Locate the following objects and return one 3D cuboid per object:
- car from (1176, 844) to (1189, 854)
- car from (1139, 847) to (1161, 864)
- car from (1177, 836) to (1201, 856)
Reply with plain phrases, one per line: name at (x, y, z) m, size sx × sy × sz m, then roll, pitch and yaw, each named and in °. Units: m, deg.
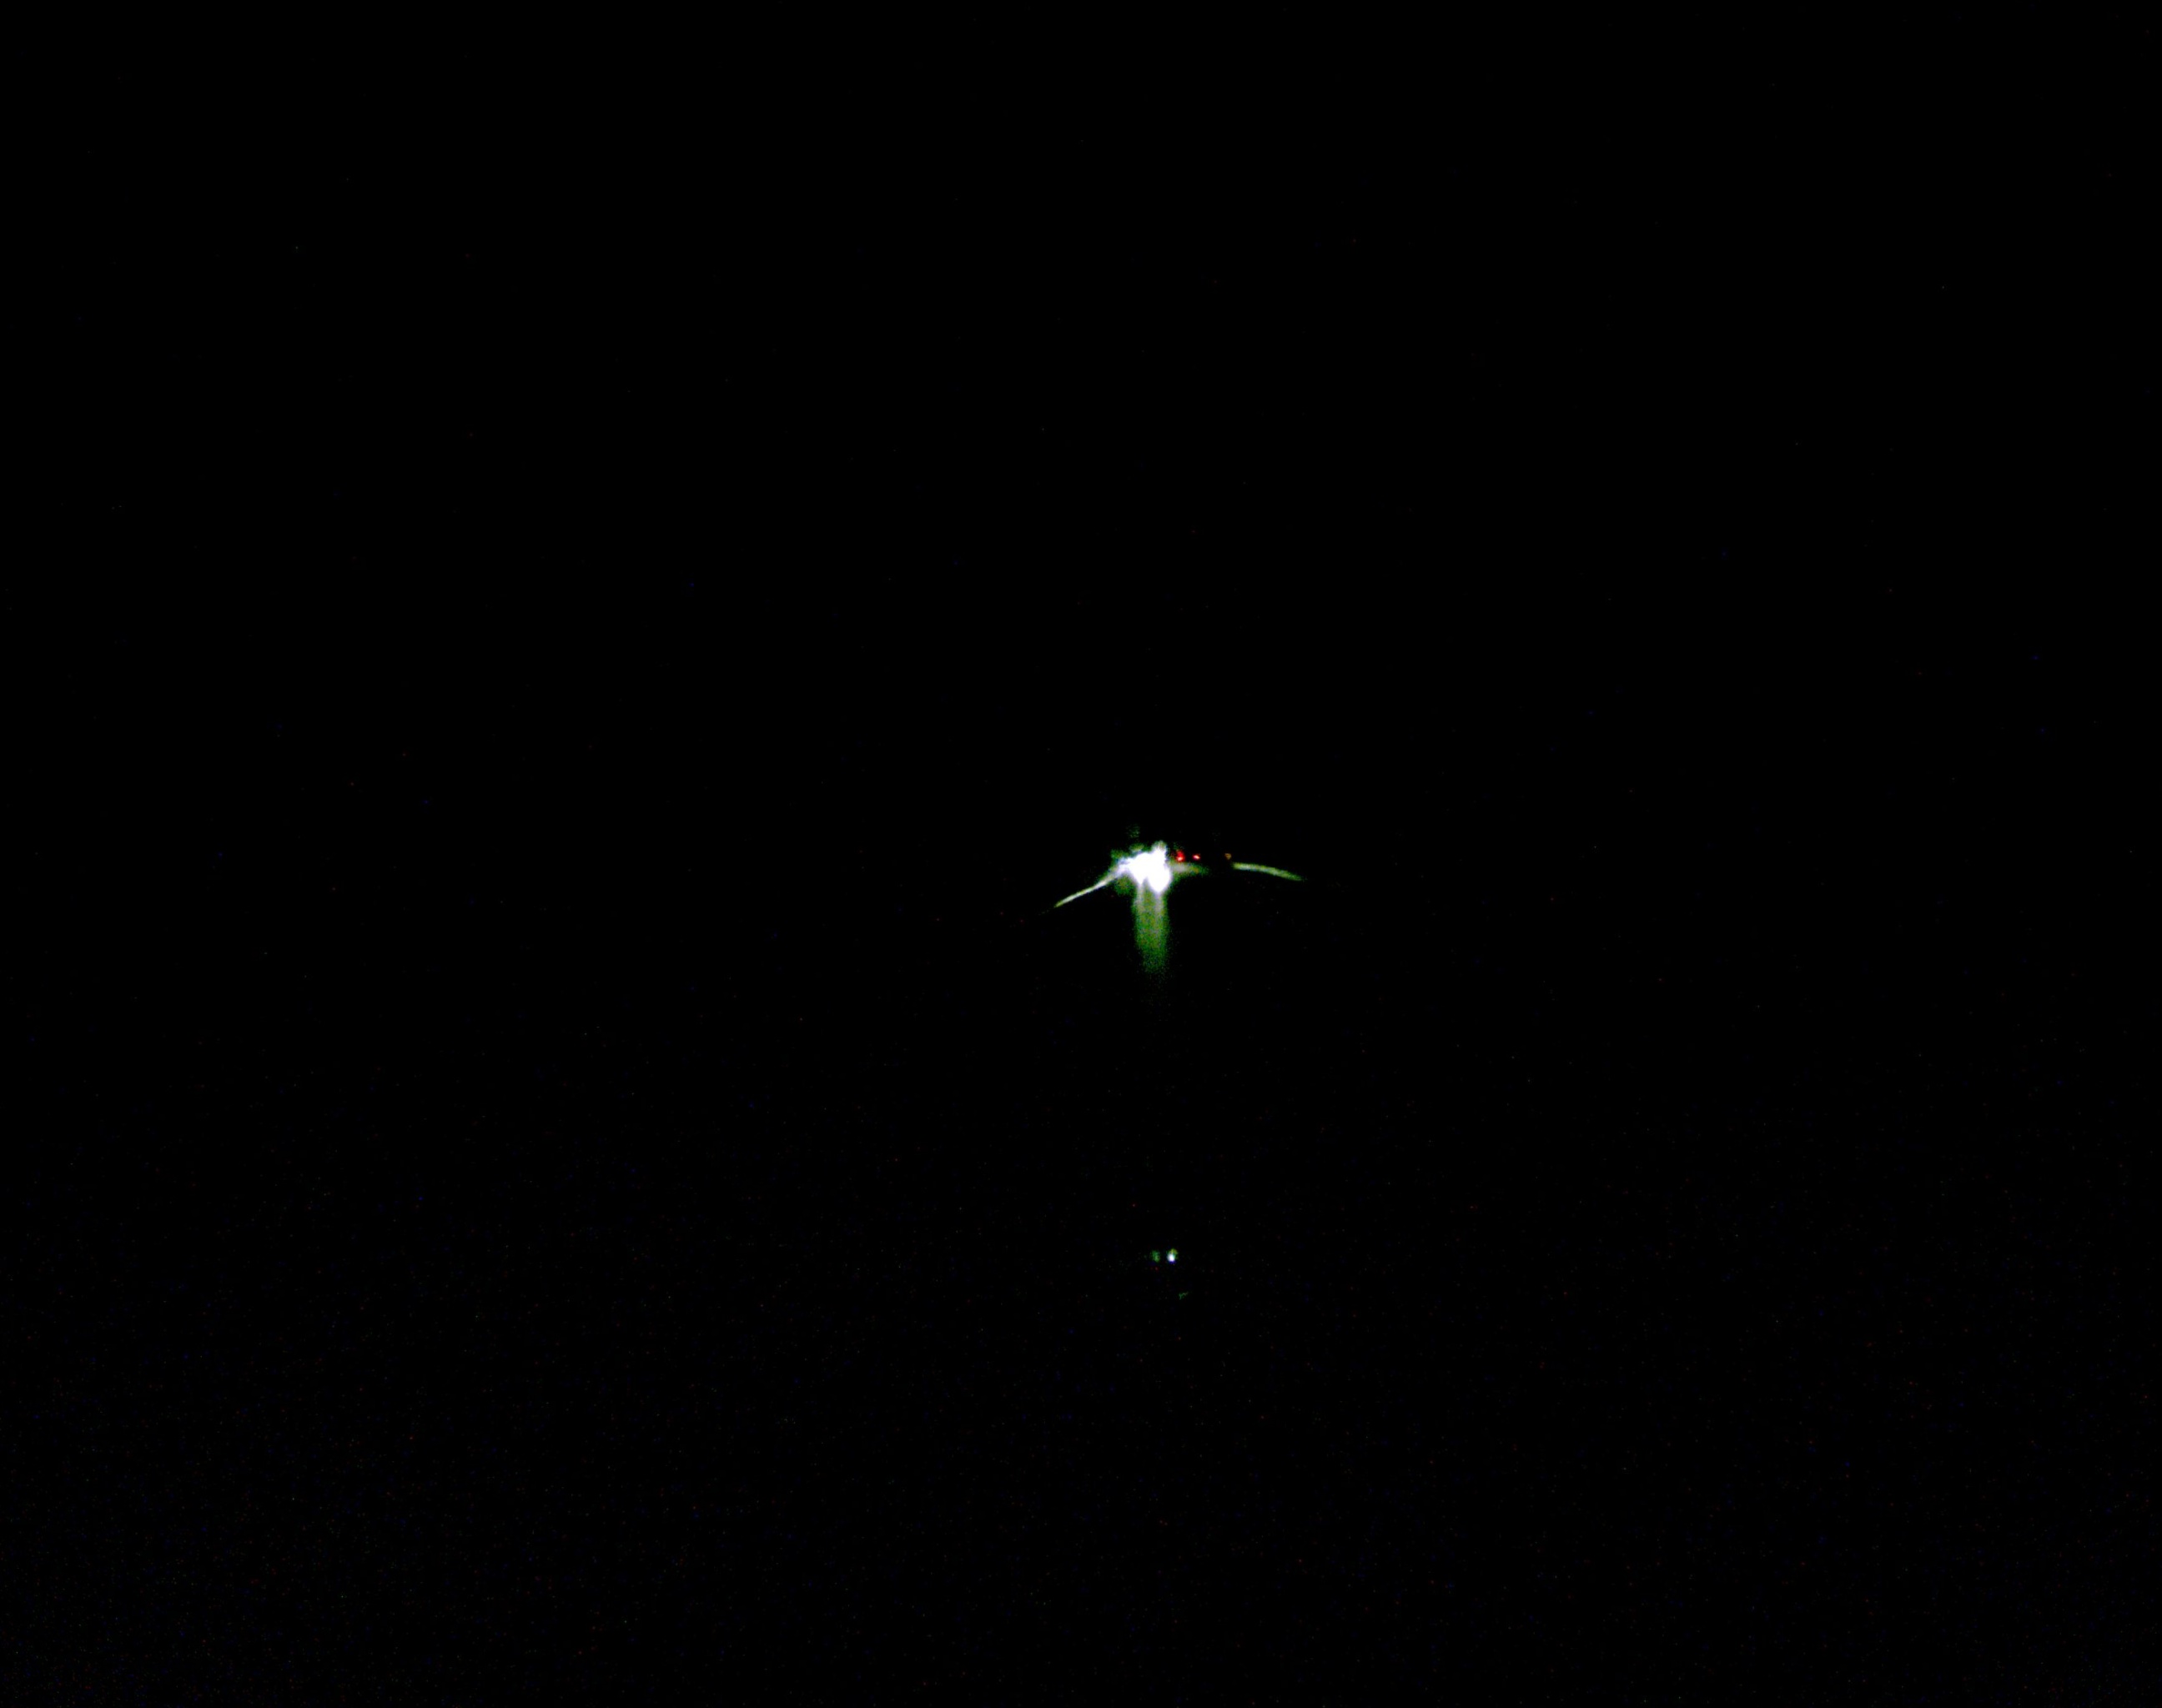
car at (15.928, -0.818, 119.444) m, size 1.998 × 1.475 × 3.217 m, roll -2°, pitch 1°, yaw 6°
car at (6.655, 0.131, 73.040) m, size 1.806 × 1.452 × 4.277 m, roll -3°, pitch 1°, yaw 7°
car at (10.080, -0.771, 71.102) m, size 1.998 × 1.740 × 4.259 m, roll -2°, pitch 1°, yaw 5°
